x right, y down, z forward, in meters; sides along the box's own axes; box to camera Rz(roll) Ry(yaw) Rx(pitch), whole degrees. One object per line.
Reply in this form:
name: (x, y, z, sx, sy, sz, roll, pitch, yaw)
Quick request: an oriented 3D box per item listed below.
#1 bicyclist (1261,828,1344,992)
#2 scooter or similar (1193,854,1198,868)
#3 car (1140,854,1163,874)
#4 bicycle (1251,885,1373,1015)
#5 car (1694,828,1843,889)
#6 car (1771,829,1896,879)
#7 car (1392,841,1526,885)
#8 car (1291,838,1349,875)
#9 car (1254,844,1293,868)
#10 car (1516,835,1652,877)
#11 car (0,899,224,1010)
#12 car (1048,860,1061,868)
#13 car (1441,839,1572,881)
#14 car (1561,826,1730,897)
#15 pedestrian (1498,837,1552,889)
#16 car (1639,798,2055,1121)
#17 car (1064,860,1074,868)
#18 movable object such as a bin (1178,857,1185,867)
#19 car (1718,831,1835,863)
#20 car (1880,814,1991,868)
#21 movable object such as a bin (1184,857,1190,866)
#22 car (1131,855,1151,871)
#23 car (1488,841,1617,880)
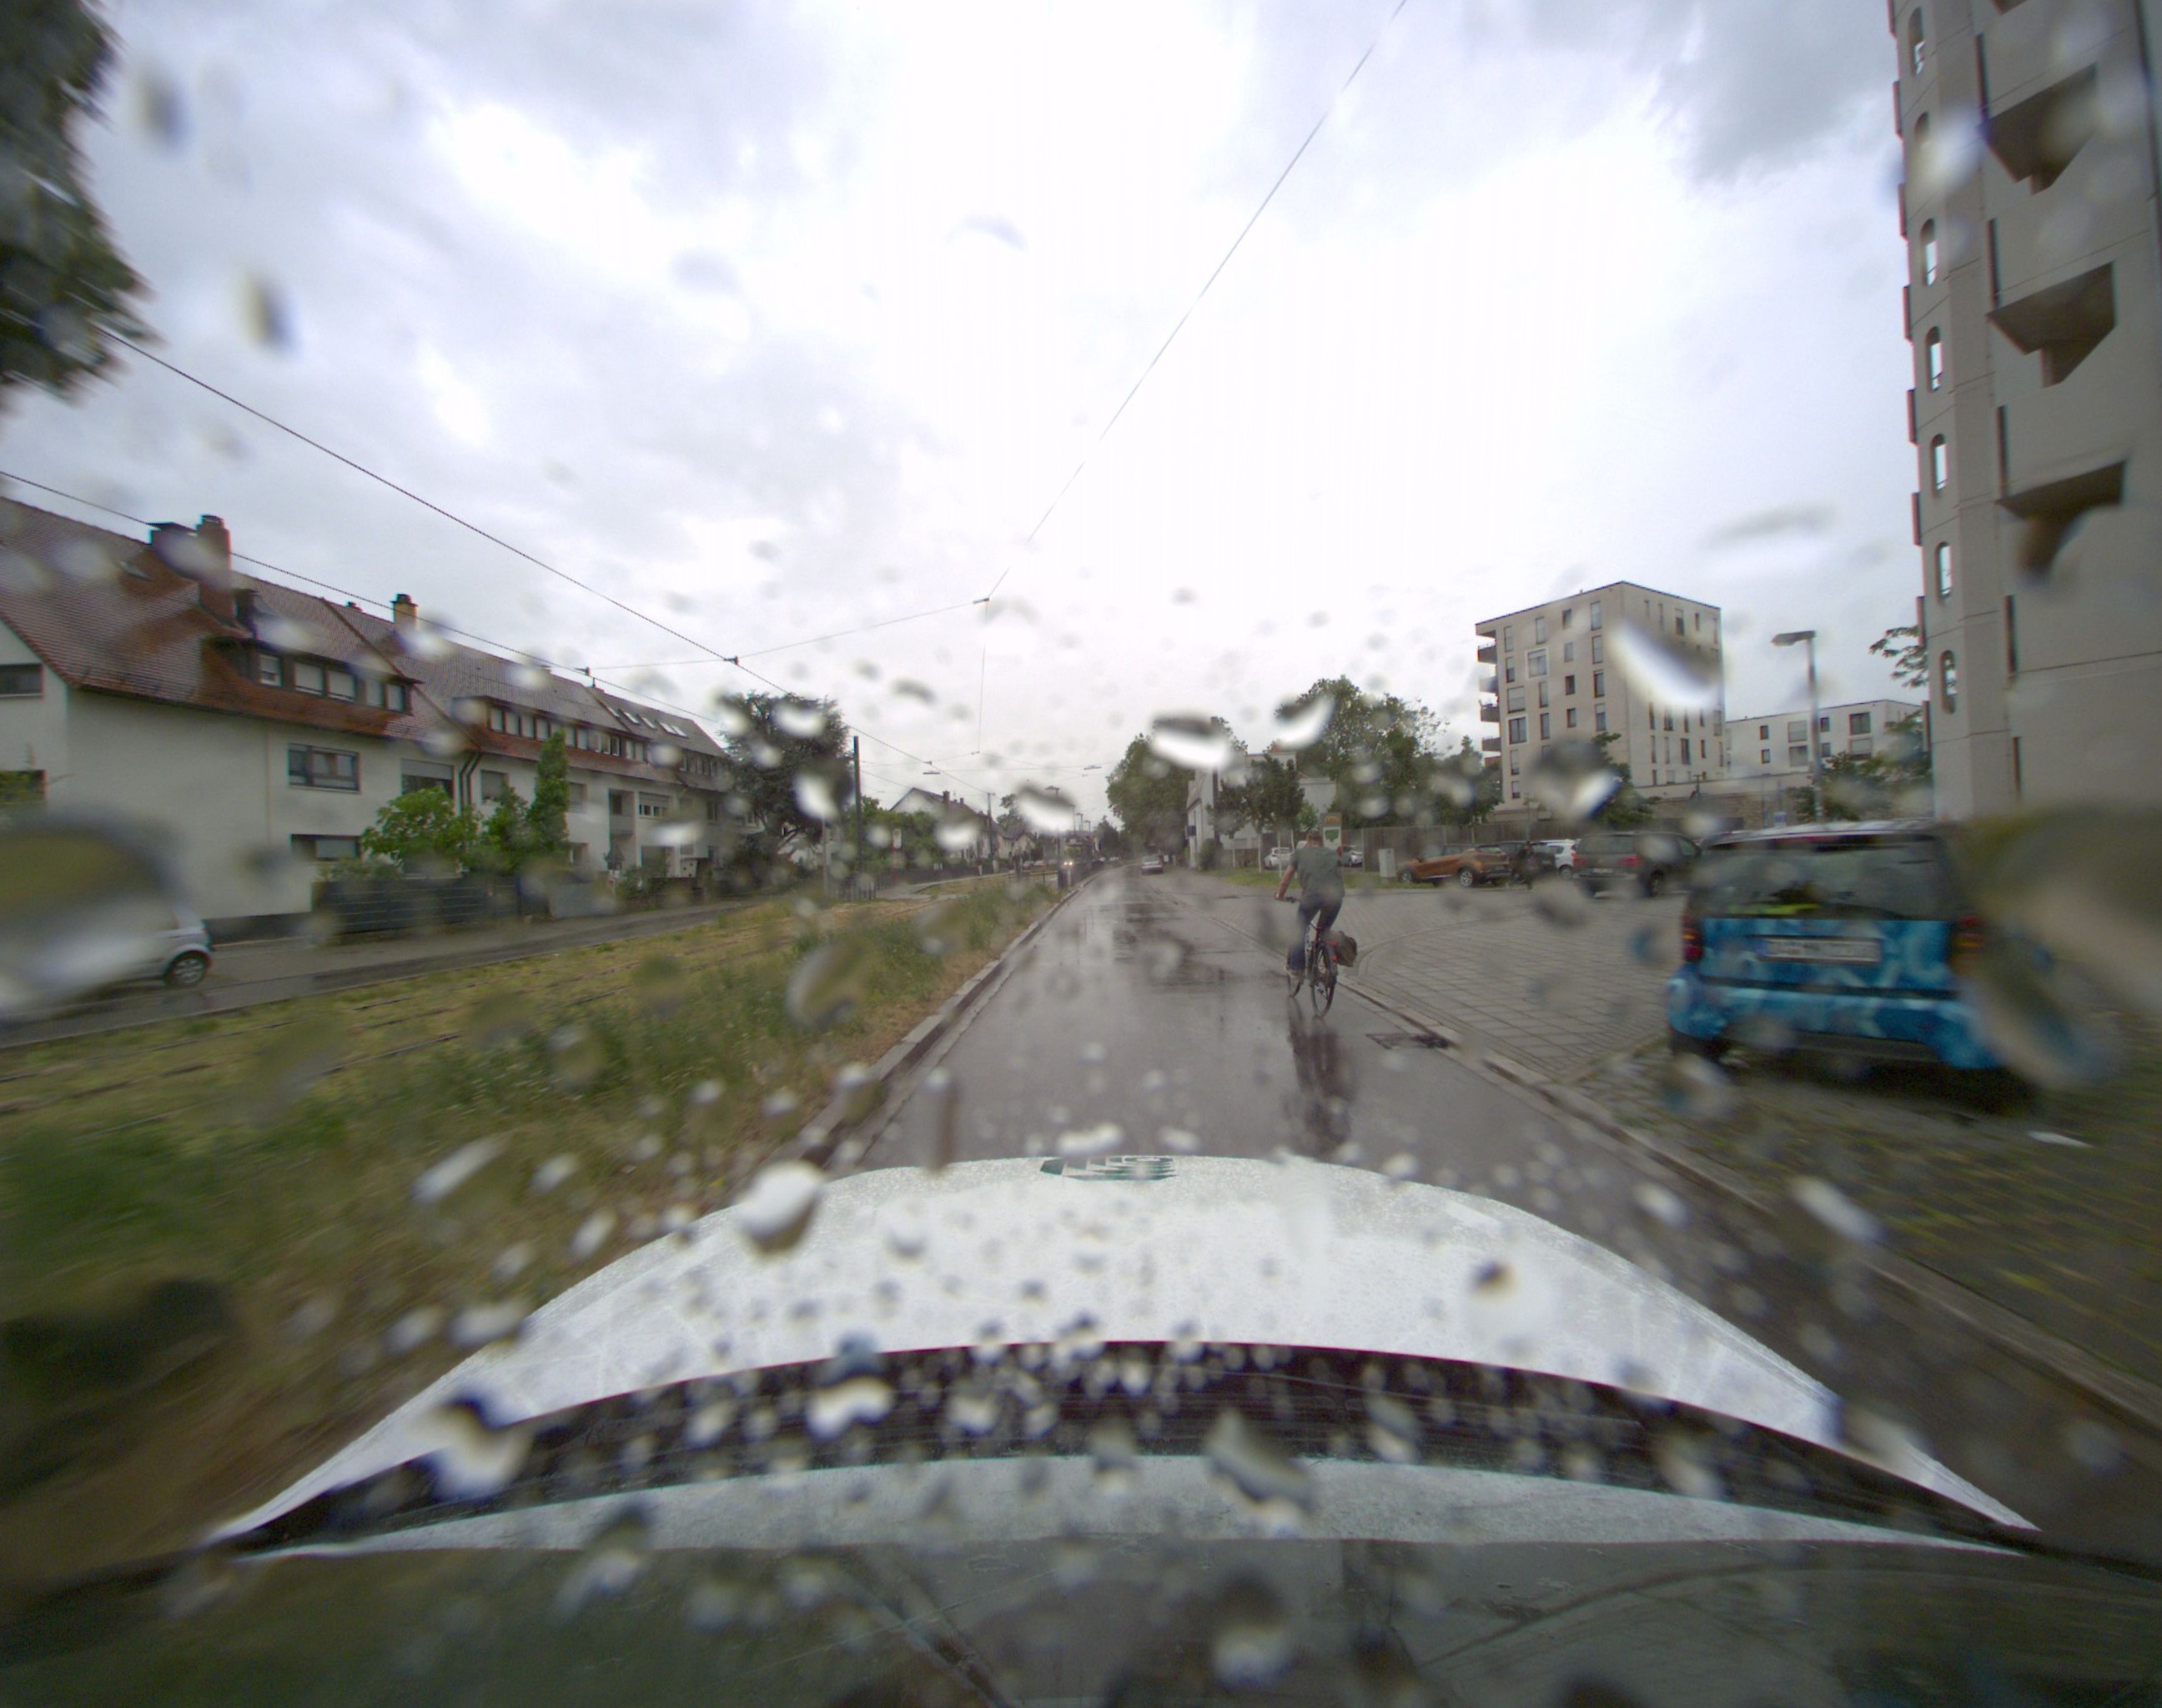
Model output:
bicyclist: (2.220, 0.542, 8.232, 0.533, 1.559, 0.771, -1, -1, -5)
scooter or similar: (9.098, 0.588, 64.864, 0.331, 1.085, 1.399, -1, -1, 9)
car: (5.706, 0.825, 66.250, 1.643, 1.405, 4.654, -5, -1, 4)
bicycle: (2.235, 0.876, 8.131, 0.535, 1.093, 1.946, -1, -1, -4)
car: (18.995, 0.093, 22.488, 4.124, 1.533, 1.798, -1, 0, -29)
car: (23.827, -0.021, 25.772, 3.807, 1.475, 1.798, -1, 0, -29)
car: (13.473, 0.343, 29.255, 2.004, 1.441, 3.966, -1, -1, -26)
car: (12.567, 0.111, 43.089, 1.954, 1.784, 4.903, -1, 0, 5)
car: (13.042, 0.126, 55.316, 1.954, 1.535, 4.370, -1, 0, 5)
car: (20.522, 0.092, 33.392, 1.977, 1.586, 4.319, -2, 0, -32)
car: (-15.904, 1.482, 12.317, 1.987, 1.414, 3.657, -1, -1, 0)
car: (-5.083, 1.964, 157.394, 1.918, 1.486, 4.007, -1, -1, 7)
car: (15.940, 0.252, 30.698, 2.004, 1.441, 3.966, -1, -1, -26)
car: (13.994, 0.147, 20.173, 4.124, 1.616, 1.798, -1, 0, -29)
pedestrian: (13.338, 0.261, 24.485, 0.840, 1.517, 1.085, -1, -1, -28)
car: (5.067, 0.498, 5.341, 2.578, 1.548, 1.584, -2, -1, -39)
car: (-2.372, 2.013, 159.354, 1.626, 1.493, 4.005, -1, -1, 4)
movable object such as a bin: (11.255, 0.872, 91.454, 0.689, 1.022, 0.825, -5, -1, 3)
car: (34.744, -0.318, 40.796, 2.005, 1.441, 3.964, -1, -1, -27)
car: (32.204, -0.476, 30.672, 4.291, 1.918, 1.975, -1, 0, -31)
movable object such as a bin: (11.783, 0.850, 90.706, 0.534, 1.022, 0.739, -5, -1, 3)
car: (6.046, 0.928, 82.246, 1.799, 1.467, 3.797, -5, -1, 4)
car: (18.500, 0.281, 32.153, 2.004, 1.441, 3.966, -1, -1, -26)
